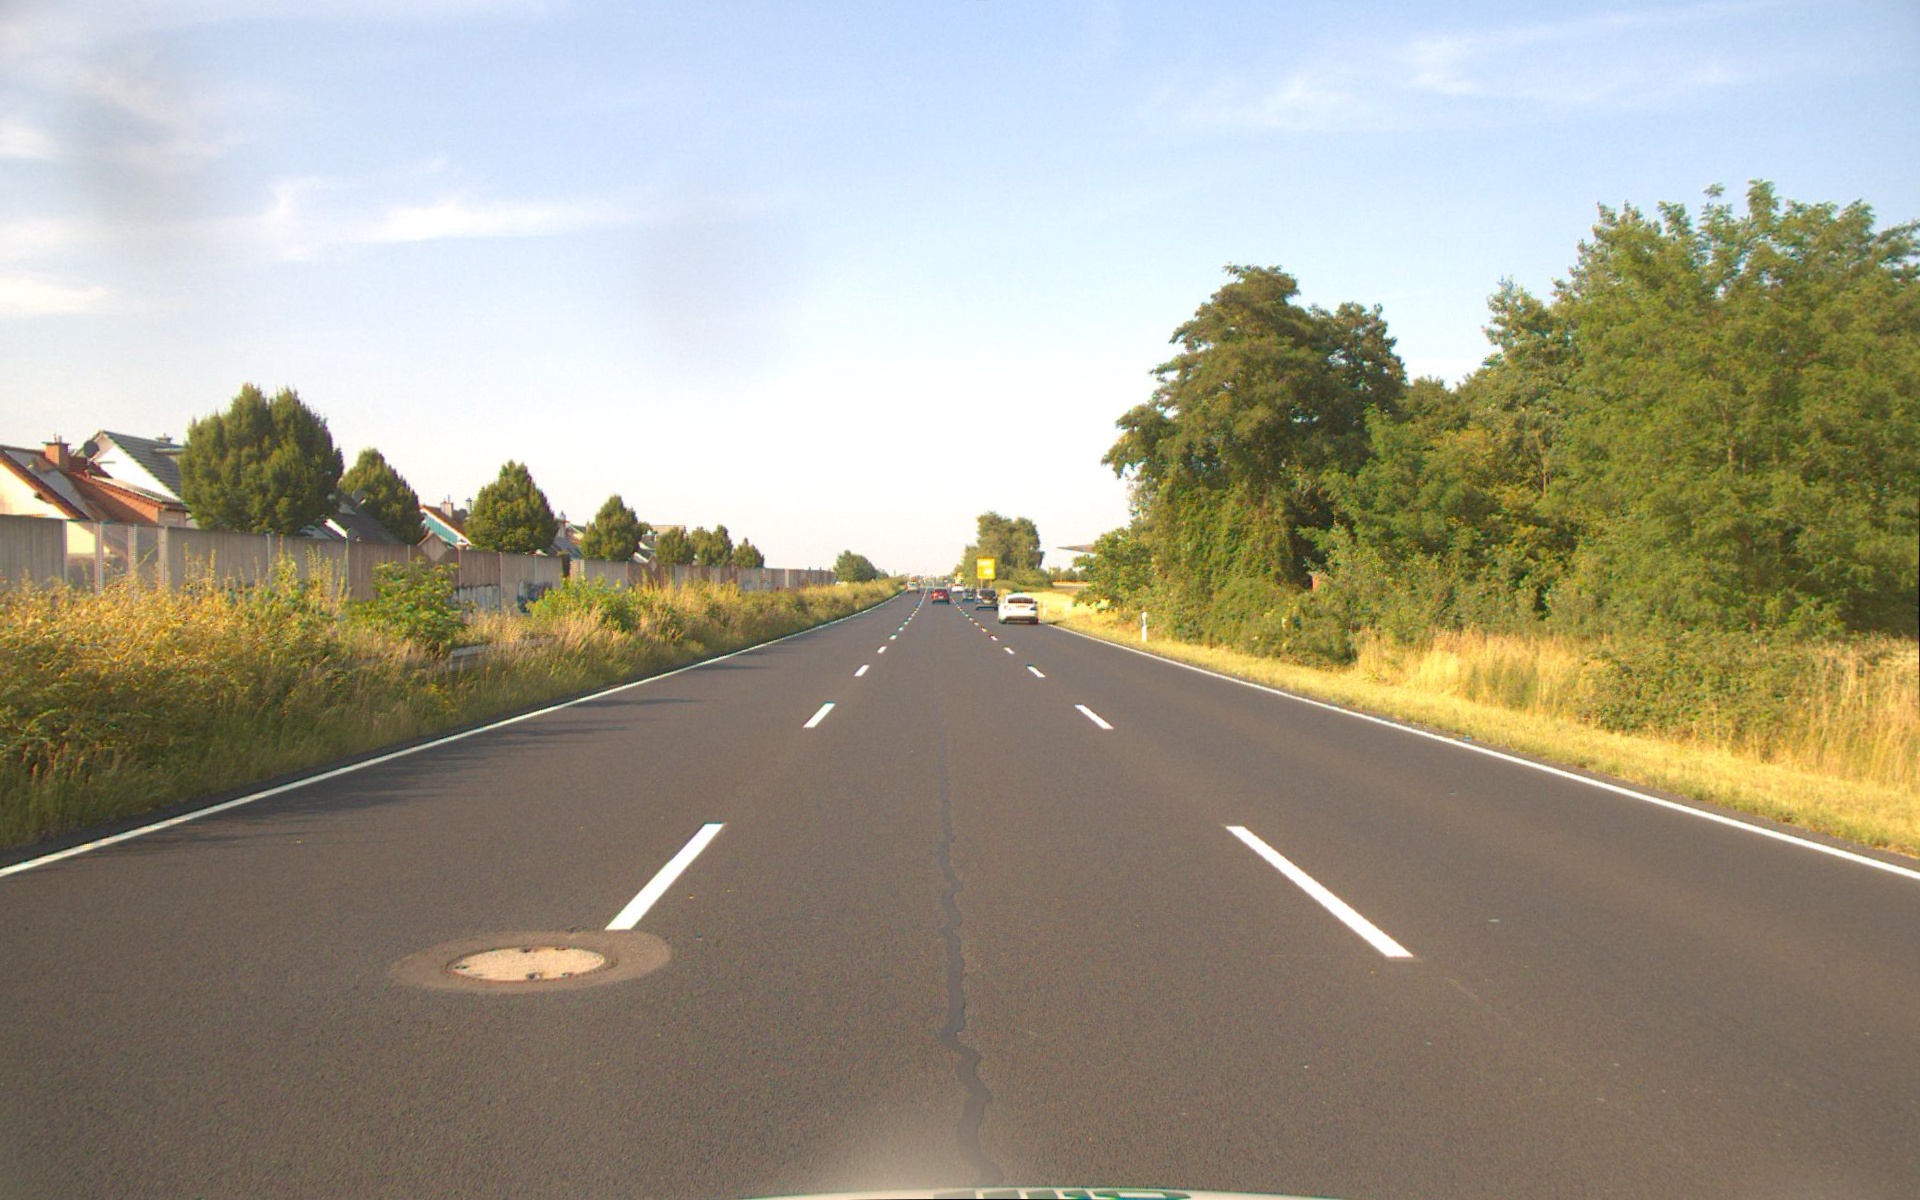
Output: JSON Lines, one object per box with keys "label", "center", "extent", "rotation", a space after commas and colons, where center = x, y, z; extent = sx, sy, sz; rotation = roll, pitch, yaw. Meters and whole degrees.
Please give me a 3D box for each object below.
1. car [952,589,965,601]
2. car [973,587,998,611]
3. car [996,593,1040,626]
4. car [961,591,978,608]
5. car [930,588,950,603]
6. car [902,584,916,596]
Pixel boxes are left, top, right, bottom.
{"label": "car", "center": [-0.239, -0.786, 250.808], "extent": [1.809, 1.780, 3.999], "rotation": [1, 0, 0]}
{"label": "car", "center": [1.972, -0.060, 128.443], "extent": [1.791, 1.758, 3.999], "rotation": [1, 0, -1]}
{"label": "car", "center": [2.856, 0.468, 82.253], "extent": [1.953, 1.543, 3.999], "rotation": [1, 0, -1]}
{"label": "car", "center": [1.006, -0.028, 176.355], "extent": [1.797, 1.747, 3.861], "rotation": [1, 0, -1]}
{"label": "car", "center": [-1.934, -0.429, 159.938], "extent": [1.775, 1.461, 3.857], "rotation": [1, 0, -2]}
{"label": "car", "center": [-7.644, -1.467, 248.003], "extent": [1.953, 1.747, 3.999], "rotation": [1, 0, -1]}
